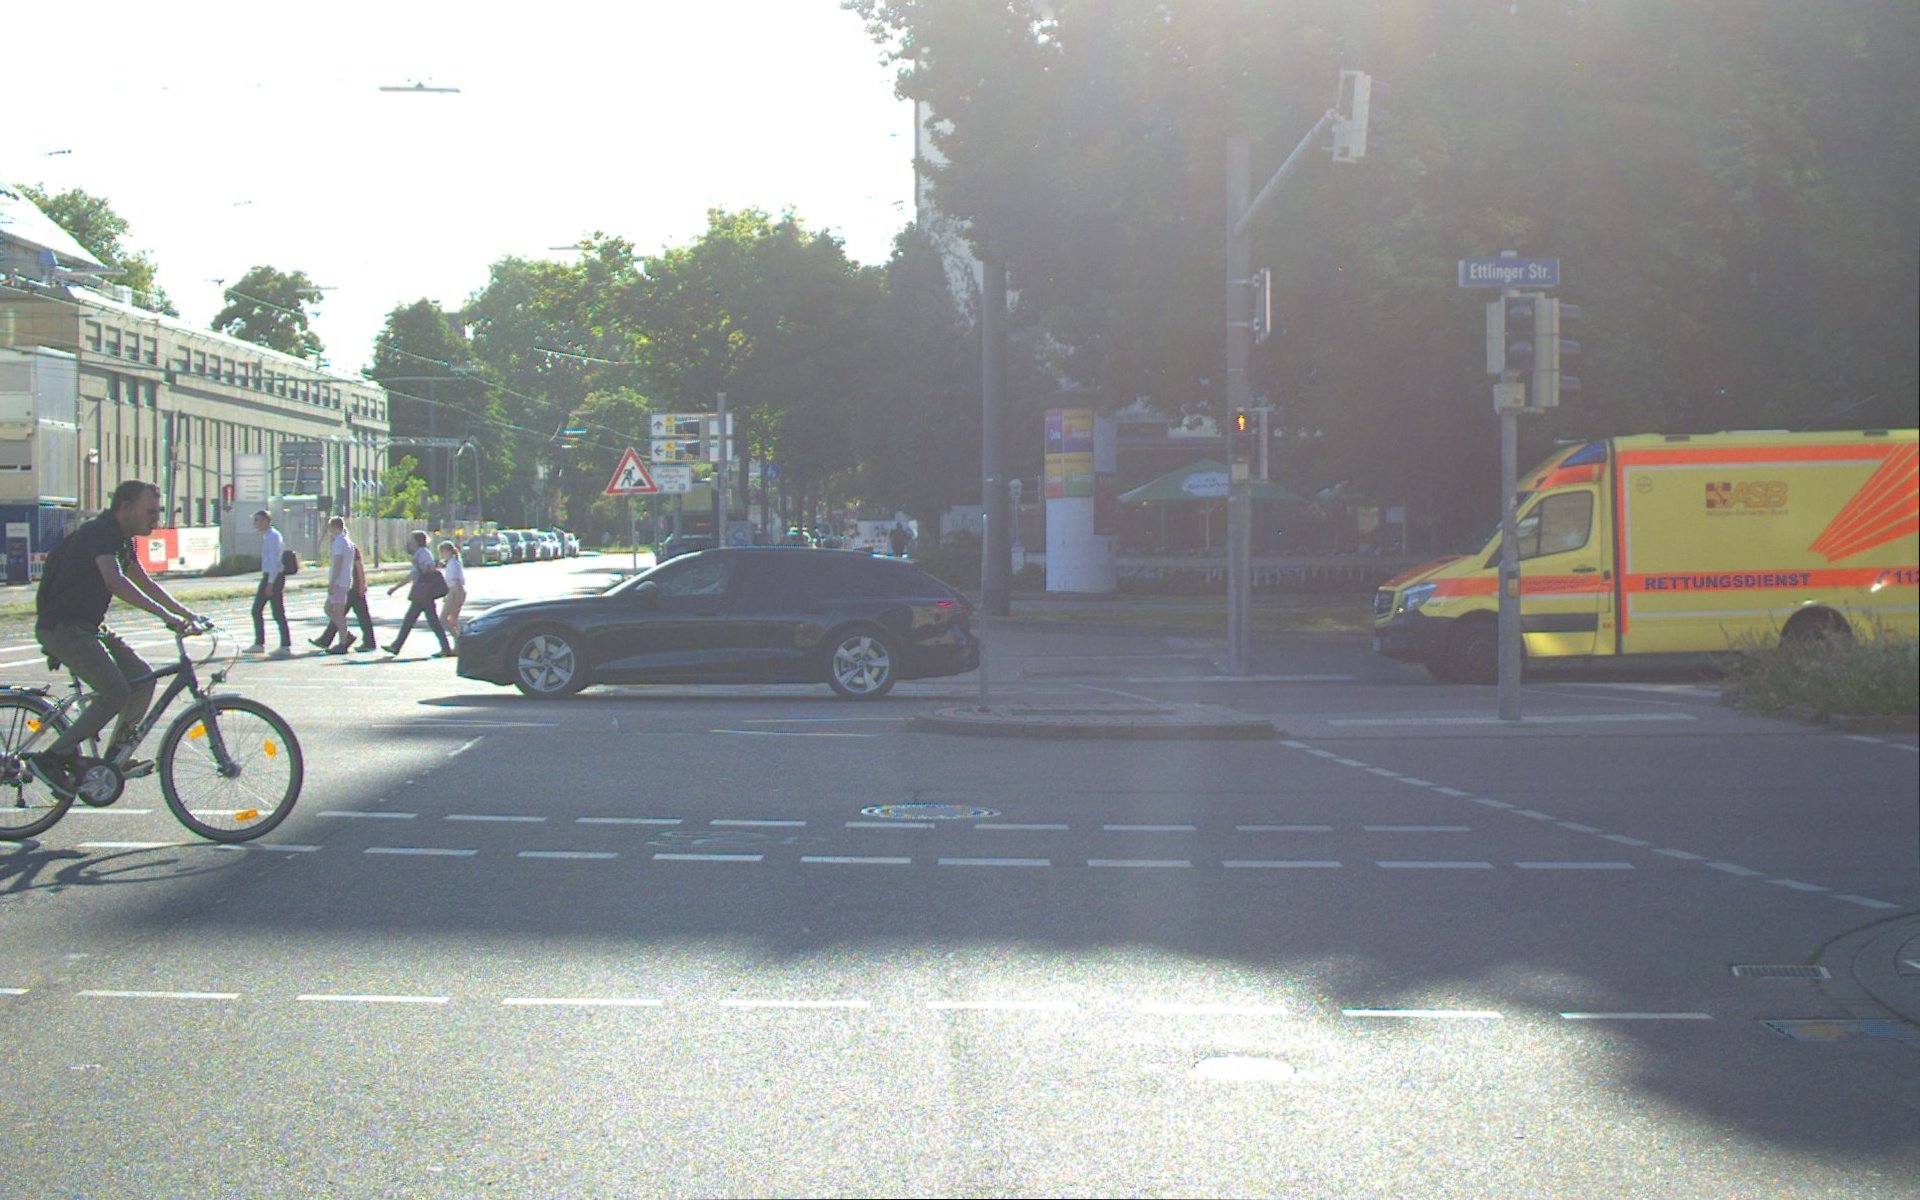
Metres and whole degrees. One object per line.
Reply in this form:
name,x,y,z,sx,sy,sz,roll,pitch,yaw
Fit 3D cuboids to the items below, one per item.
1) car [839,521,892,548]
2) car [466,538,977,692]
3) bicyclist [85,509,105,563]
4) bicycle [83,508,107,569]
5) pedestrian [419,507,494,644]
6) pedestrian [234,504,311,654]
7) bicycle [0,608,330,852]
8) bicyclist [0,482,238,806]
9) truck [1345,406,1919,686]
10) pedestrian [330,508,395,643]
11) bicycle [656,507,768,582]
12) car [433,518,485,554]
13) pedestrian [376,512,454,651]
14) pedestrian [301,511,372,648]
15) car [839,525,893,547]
car,-5.875,-4.065,213.467,3.214,1.583,1.446,1,0,-4
car,-2.221,0.156,32.915,4.735,1.410,2.000,0,-1,0
bicyclist,-32.886,-2.438,130.763,0.571,2.017,0.762,0,1,-2
bicycle,-32.882,-2.343,130.738,0.571,2.288,1.422,0,1,-2
pedestrian,-6.696,-0.327,45.722,0.870,1.797,0.532,0,1,5
pedestrian,-8.829,-0.270,44.183,0.802,1.911,0.637,0,1,5
bicycle,-4.055,0.617,16.724,1.813,1.081,0.766,1,3,3
bicyclist,-4.108,0.197,16.711,1.002,1.507,0.766,1,3,3
truck,7.695,-0.610,38.441,6.468,3.005,2.725,0,1,0
pedestrian,-8.050,-0.334,46.363,0.739,1.797,0.532,0,1,5
bicycle,-5.875,-1.309,81.508,2.547,1.737,1.037,1,0,0
car,-22.785,-2.909,156.518,1.894,1.601,4.501,-1,1,-2
pedestrian,-7.138,-0.249,45.051,0.870,1.797,0.664,0,1,5
pedestrian,-8.228,-0.272,45.370,0.739,1.797,0.716,0,1,5
car,-5.748,-3.935,211.168,3.217,1.259,1.373,1,0,-5
